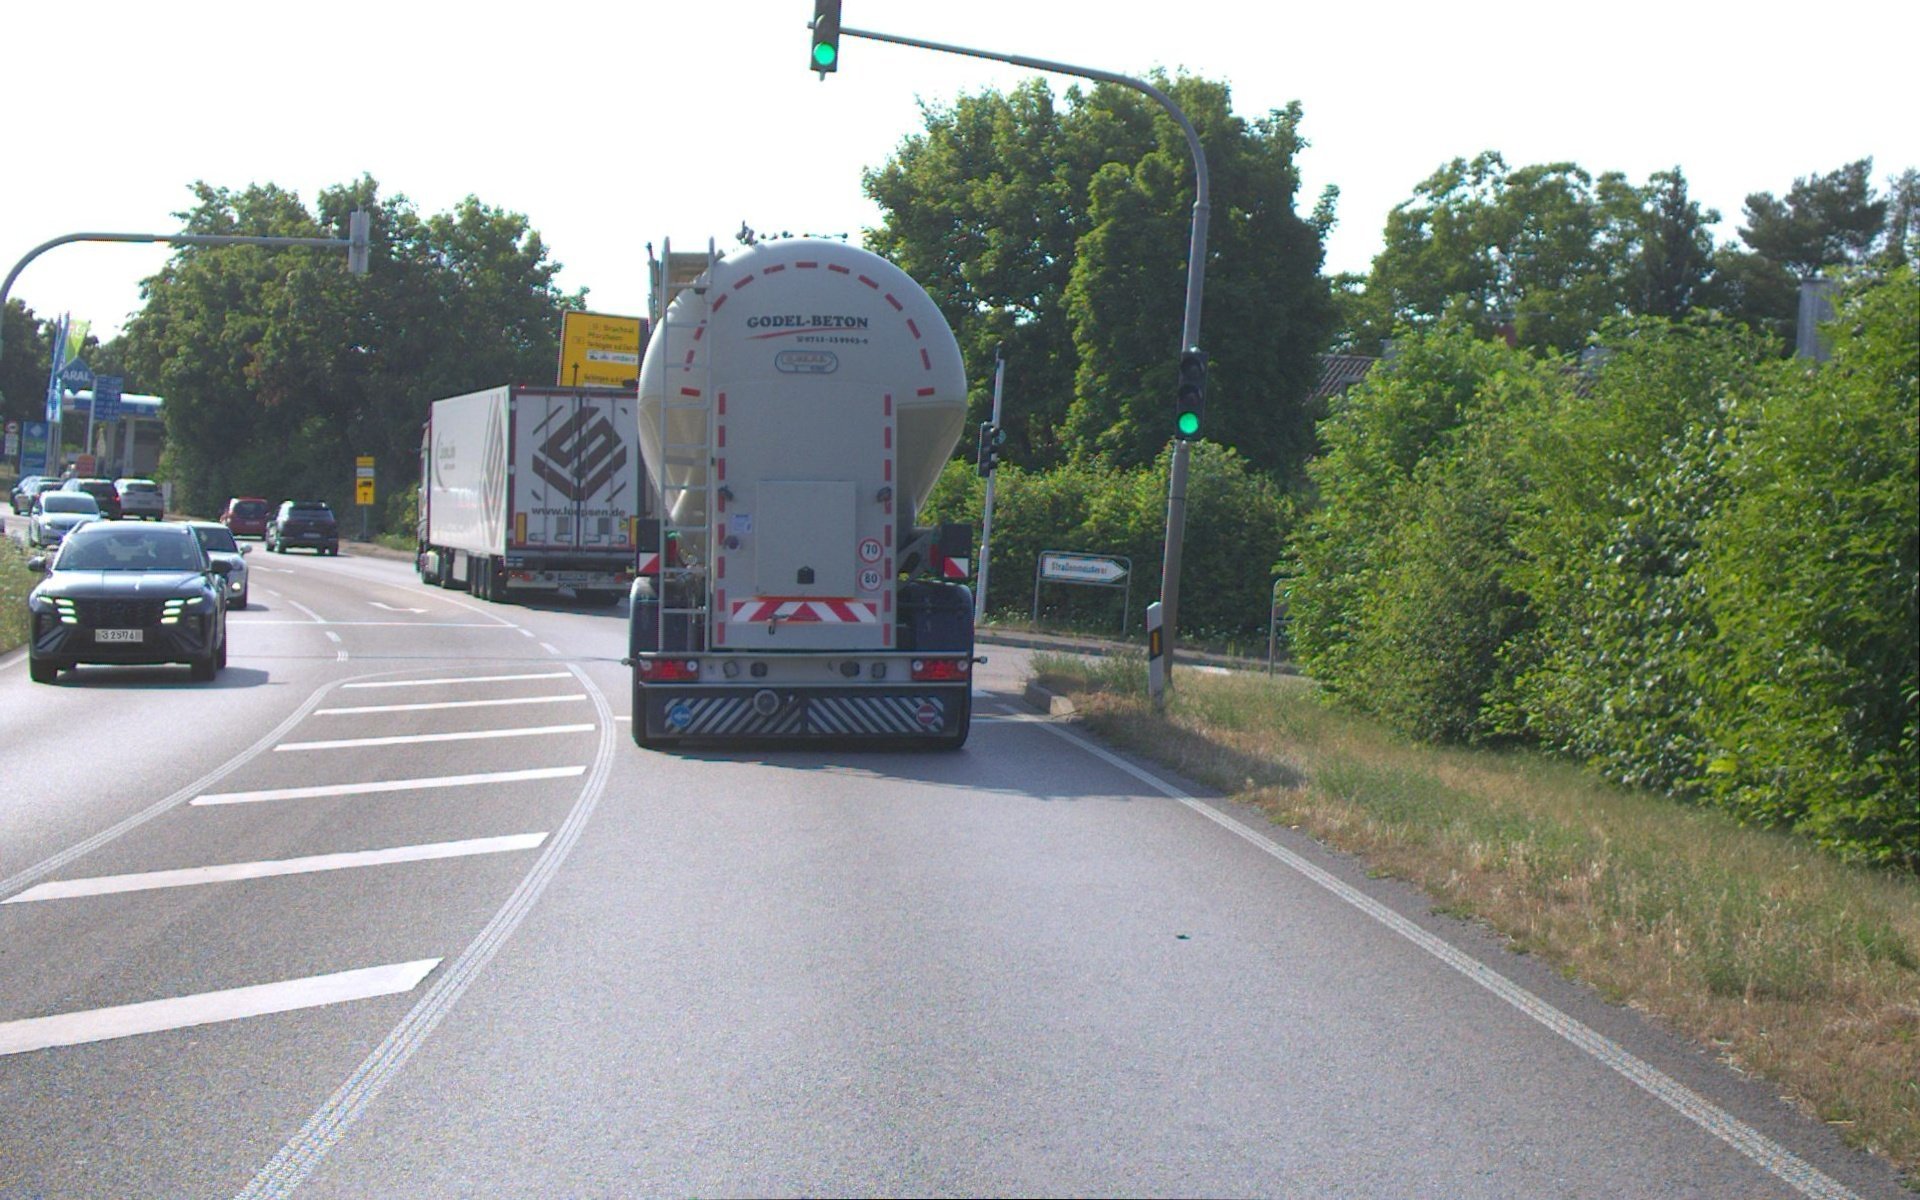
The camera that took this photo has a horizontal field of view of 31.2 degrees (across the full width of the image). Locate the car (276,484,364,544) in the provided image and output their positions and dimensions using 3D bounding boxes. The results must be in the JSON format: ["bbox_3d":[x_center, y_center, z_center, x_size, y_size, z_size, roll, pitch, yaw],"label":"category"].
[{"bbox_3d":[-19.244,-2.555,103.256,1.993,1.650,4.001,2,0,-18],"label":"car"}]

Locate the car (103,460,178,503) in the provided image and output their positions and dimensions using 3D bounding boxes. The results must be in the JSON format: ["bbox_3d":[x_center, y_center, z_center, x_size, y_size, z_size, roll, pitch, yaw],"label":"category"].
[{"bbox_3d":[-33.925,-4.886,142.250,1.841,1.650,4.000,2,0,-30],"label":"car"}]

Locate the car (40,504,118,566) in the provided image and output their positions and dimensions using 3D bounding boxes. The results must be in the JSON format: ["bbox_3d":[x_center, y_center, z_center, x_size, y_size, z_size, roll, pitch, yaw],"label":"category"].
[{"bbox_3d":[-24.674,-1.832,96.191,1.881,1.594,4.001,2,1,-17],"label":"car"}]

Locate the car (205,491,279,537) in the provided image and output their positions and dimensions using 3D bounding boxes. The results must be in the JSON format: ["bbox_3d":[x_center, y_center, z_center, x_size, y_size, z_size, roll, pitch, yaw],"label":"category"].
[{"bbox_3d":[-24.786,-2.945,118.563,1.683,1.463,4.001,2,0,-24],"label":"car"}]

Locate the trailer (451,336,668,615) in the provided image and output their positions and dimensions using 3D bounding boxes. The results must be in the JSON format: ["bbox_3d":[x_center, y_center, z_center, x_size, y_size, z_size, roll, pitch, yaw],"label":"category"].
[{"bbox_3d":[-7.911,-2.250,66.588,2.963,4.865,10.291,2,0,-13],"label":"trailer"}]

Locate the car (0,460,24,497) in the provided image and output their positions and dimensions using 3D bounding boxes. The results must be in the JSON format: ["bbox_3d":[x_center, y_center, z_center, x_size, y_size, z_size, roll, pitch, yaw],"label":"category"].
[{"bbox_3d":[-43.390,-5.464,153.605,1.882,1.594,4.000,2,1,-33],"label":"car"}]

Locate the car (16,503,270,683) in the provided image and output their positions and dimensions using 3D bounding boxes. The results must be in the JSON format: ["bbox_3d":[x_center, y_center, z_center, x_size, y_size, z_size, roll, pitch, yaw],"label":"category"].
[{"bbox_3d":[-8.620,-0.132,36.644,1.993,1.719,4.427,2,2,-6],"label":"car"}]

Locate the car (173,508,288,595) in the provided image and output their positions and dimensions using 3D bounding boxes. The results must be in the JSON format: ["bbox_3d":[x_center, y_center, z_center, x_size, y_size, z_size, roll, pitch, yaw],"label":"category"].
[{"bbox_3d":[-12.533,-0.839,59.244,1.719,1.431,3.750,0,1,-9],"label":"car"}]

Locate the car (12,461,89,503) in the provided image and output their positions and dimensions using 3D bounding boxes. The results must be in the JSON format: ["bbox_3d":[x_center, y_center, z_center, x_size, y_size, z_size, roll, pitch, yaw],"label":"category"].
[{"bbox_3d":[-37.311,-4.852,140.945,2.085,1.594,4.001,2,1,-29],"label":"car"}]

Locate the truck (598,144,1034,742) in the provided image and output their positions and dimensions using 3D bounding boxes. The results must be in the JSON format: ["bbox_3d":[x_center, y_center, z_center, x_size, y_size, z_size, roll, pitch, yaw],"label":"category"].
[{"bbox_3d":[-1.487,-1.117,30.421,2.975,4.161,11.664,2,0,-5],"label":"truck"}]

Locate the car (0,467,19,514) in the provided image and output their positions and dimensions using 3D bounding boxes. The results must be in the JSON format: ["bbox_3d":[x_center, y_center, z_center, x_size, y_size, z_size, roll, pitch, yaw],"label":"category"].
[{"bbox_3d":[-34.861,-3.936,122.343,1.881,1.594,4.001,2,1,-26],"label":"car"}]

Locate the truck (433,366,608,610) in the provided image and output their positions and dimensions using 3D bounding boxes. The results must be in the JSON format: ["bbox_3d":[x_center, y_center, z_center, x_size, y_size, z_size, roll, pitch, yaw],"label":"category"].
[{"bbox_3d":[-9.481,-2.309,73.664,2.962,4.870,6.432,2,0,-13],"label":"truck"}]

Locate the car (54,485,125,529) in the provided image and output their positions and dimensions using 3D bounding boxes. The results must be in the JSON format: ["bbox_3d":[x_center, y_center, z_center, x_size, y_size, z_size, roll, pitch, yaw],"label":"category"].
[{"bbox_3d":[-33.693,-3.613,132.975,1.881,1.594,4.001,2,1,-25],"label":"car"}]
